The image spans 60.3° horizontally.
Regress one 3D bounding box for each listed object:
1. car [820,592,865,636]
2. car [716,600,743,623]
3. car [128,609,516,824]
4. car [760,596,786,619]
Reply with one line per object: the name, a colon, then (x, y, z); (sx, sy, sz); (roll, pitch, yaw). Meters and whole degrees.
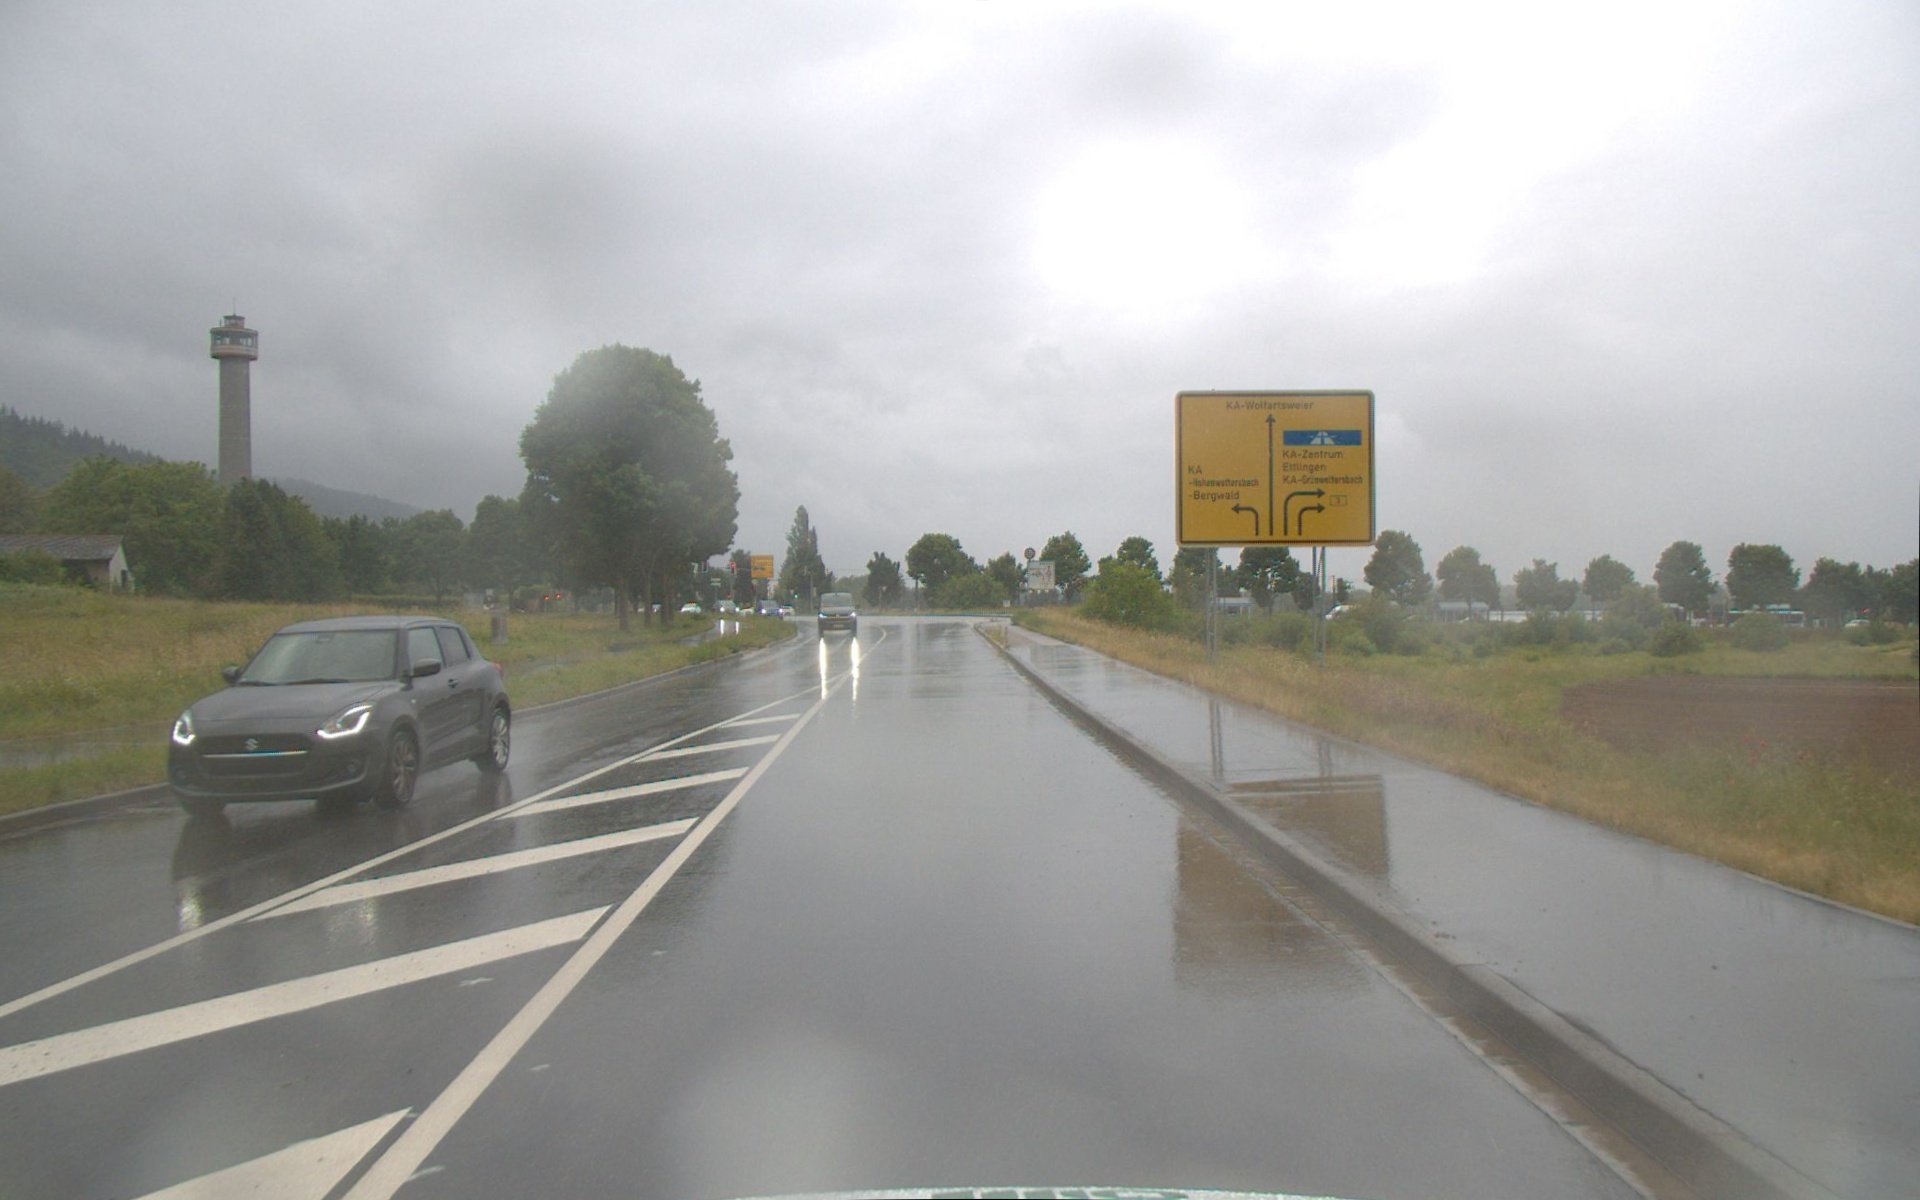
car: (-5.671, 0.649, 80.573); (1.954, 2.007, 4.955); (-2, 0, -2)
car: (-21.678, 1.089, 155.479); (1.961, 2.049, 3.983); (1, 0, -16)
car: (-5.054, 0.842, 13.675); (1.662, 1.426, 3.767); (-3, 0, 0)
car: (-15.159, 0.598, 134.111); (1.870, 1.751, 3.992); (-4, 0, -8)
